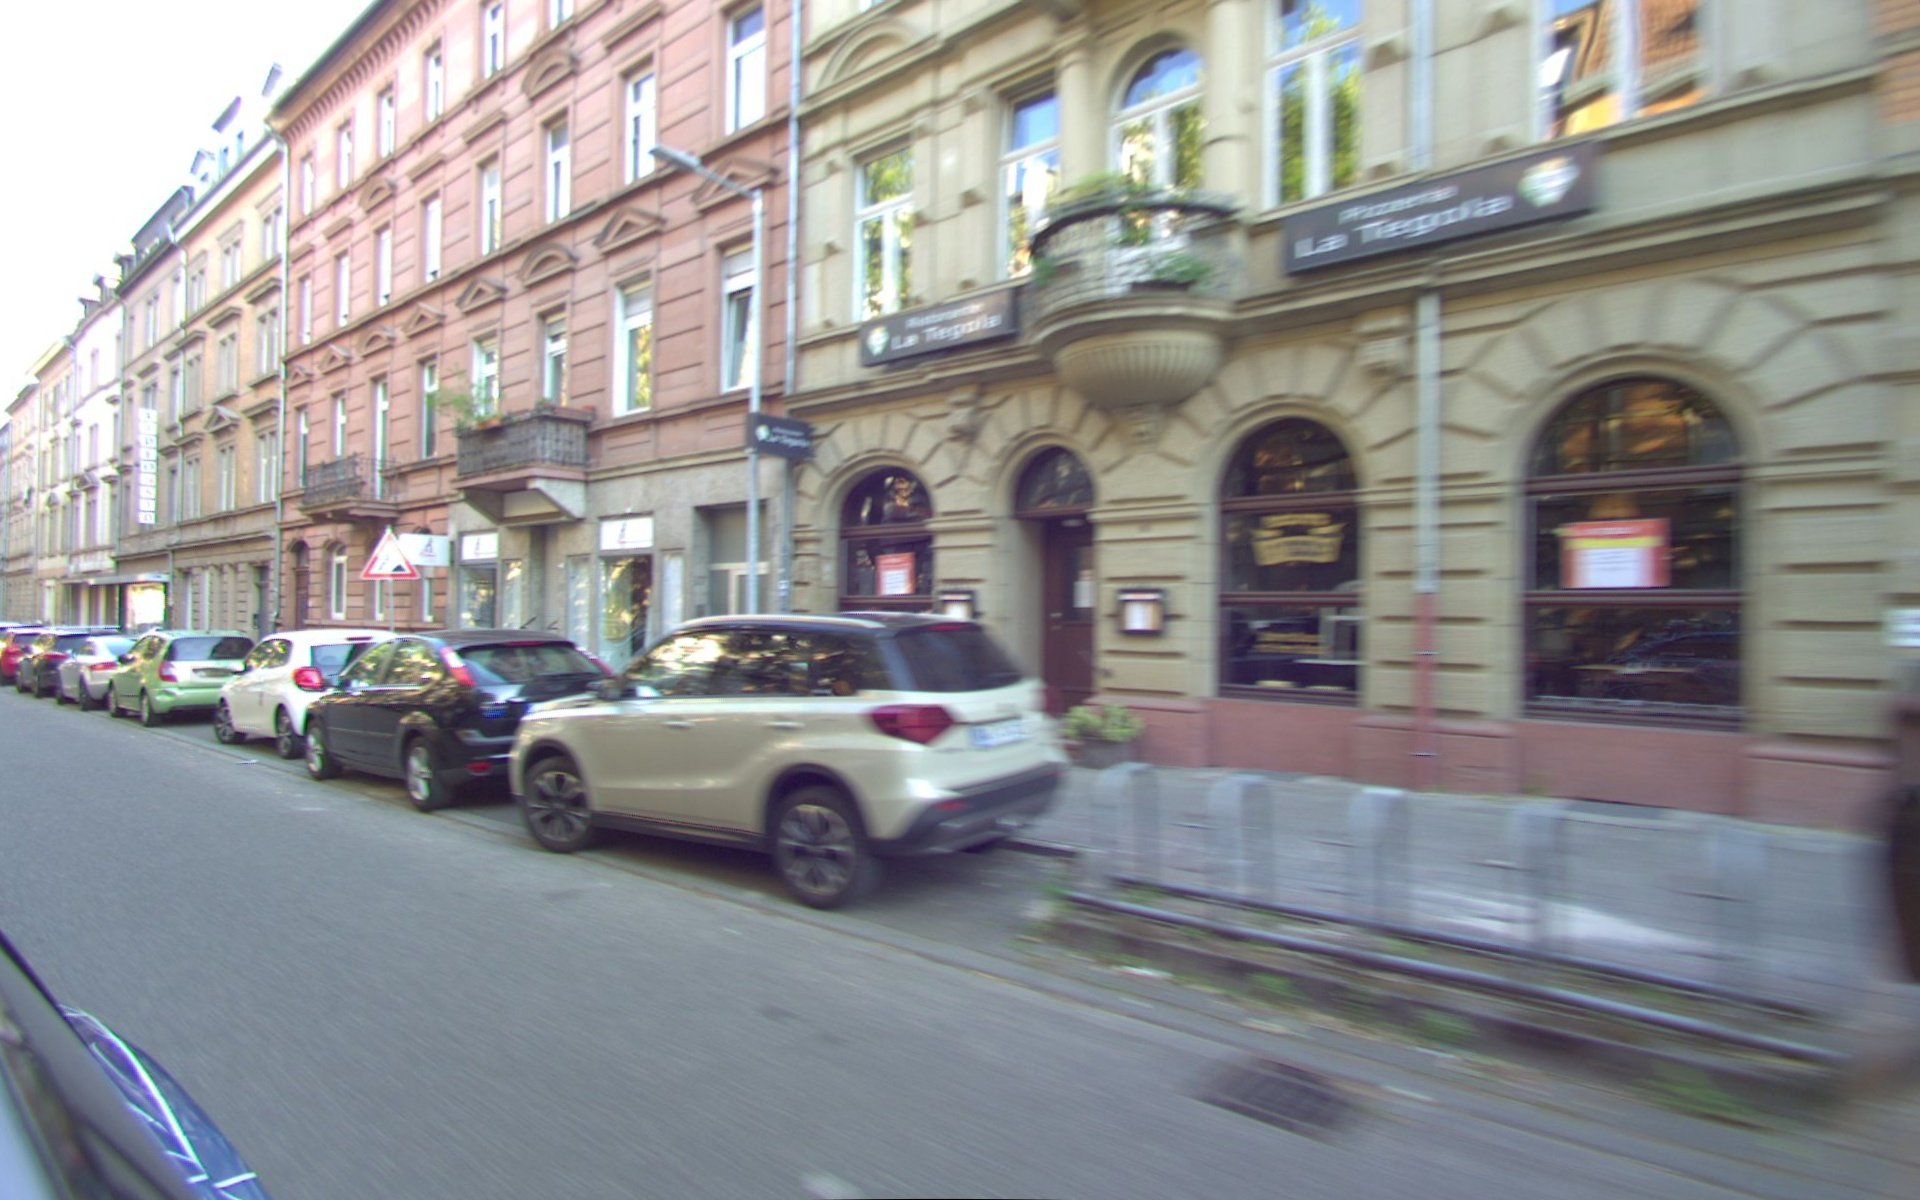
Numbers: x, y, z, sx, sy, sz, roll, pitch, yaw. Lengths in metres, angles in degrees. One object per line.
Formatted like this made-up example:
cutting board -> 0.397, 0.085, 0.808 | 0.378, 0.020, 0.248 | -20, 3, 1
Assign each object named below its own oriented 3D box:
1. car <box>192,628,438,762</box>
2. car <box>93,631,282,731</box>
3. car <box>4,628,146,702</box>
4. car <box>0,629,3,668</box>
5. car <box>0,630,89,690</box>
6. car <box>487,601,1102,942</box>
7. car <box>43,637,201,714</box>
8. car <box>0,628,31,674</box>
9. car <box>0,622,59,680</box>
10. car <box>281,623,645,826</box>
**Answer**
car -> -8.484, 1.115, 13.181 | 3.997, 1.484, 1.566 | -1, -3, 40
car -> -12.796, 1.236, 16.689 | 3.956, 1.450, 1.687 | -1, -3, 41
car -> -20.067, 1.395, 22.876 | 4.420, 1.488, 1.802 | -1, -1, 40
car -> -38.144, 1.839, 38.689 | 4.084, 1.484, 1.739 | -2, -2, 40
car -> -24.989, 1.554, 27.185 | 4.310, 1.436, 1.802 | -1, -1, 40
car -> -1.258, 0.859, 6.689 | 4.041, 1.586, 1.633 | -1, 0, 36
car -> -16.366, 1.387, 19.704 | 4.098, 1.333, 1.687 | -1, -3, 41
car -> -32.653, 1.691, 33.847 | 4.487, 1.484, 1.843 | -2, -3, 41
car -> -28.420, 1.497, 30.135 | 4.310, 1.612, 1.802 | -1, -1, 40
car -> -4.862, 1.007, 9.657 | 3.997, 1.484, 1.631 | -1, 0, 40
